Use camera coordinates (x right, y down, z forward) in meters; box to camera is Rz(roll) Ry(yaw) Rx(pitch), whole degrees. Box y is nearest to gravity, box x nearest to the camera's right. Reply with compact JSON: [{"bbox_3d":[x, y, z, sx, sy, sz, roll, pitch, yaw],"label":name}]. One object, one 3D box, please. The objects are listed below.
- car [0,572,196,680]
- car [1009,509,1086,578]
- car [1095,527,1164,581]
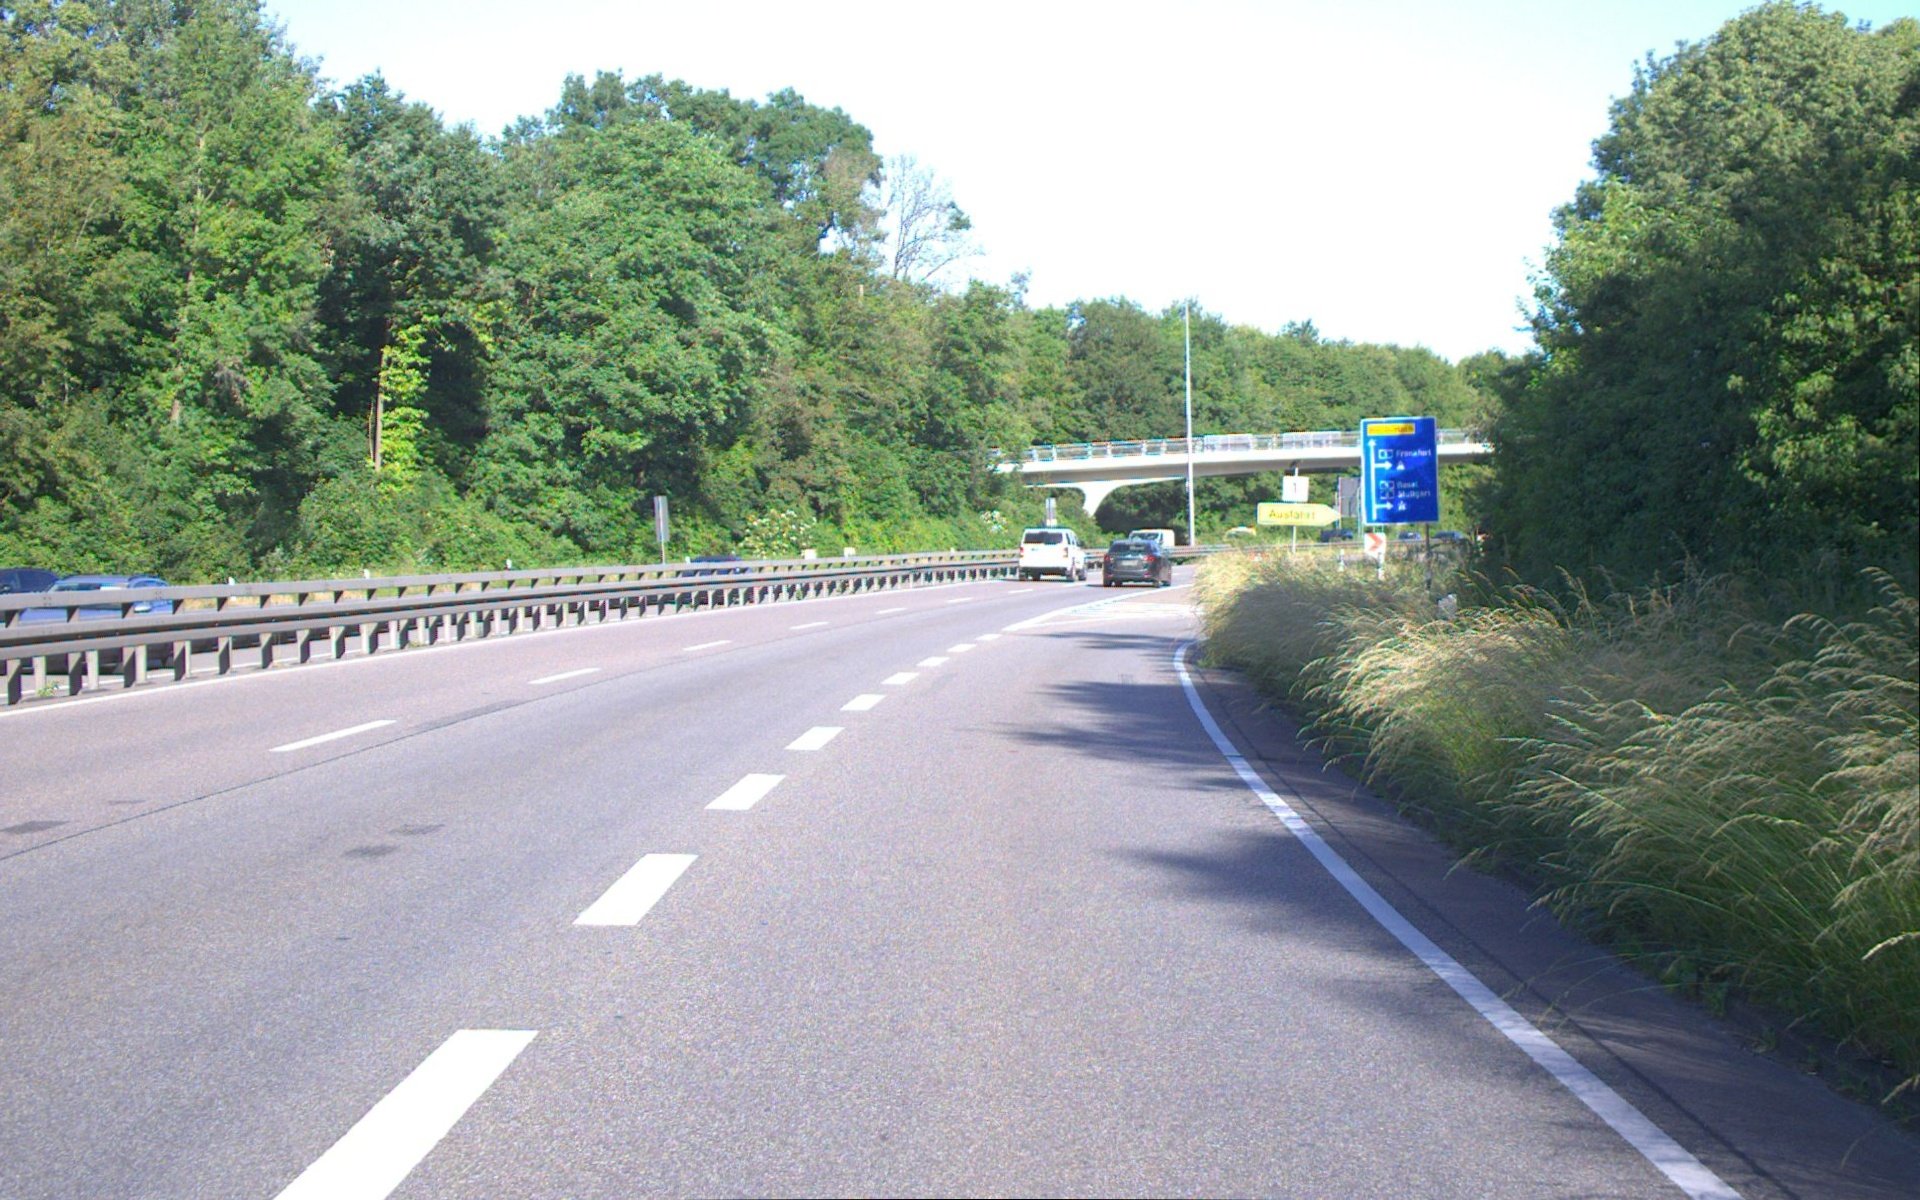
[{"bbox_3d":[-13.074,0.353,51.546,1.994,1.508,4.422,0,1,4],"label":"car"},{"bbox_3d":[2.981,-1.913,115.991,1.994,2.270,3.998,-1,1,10],"label":"car"},{"bbox_3d":[5.285,-1.435,106.925,1.740,1.656,3.944,-1,1,9],"label":"car"}]
